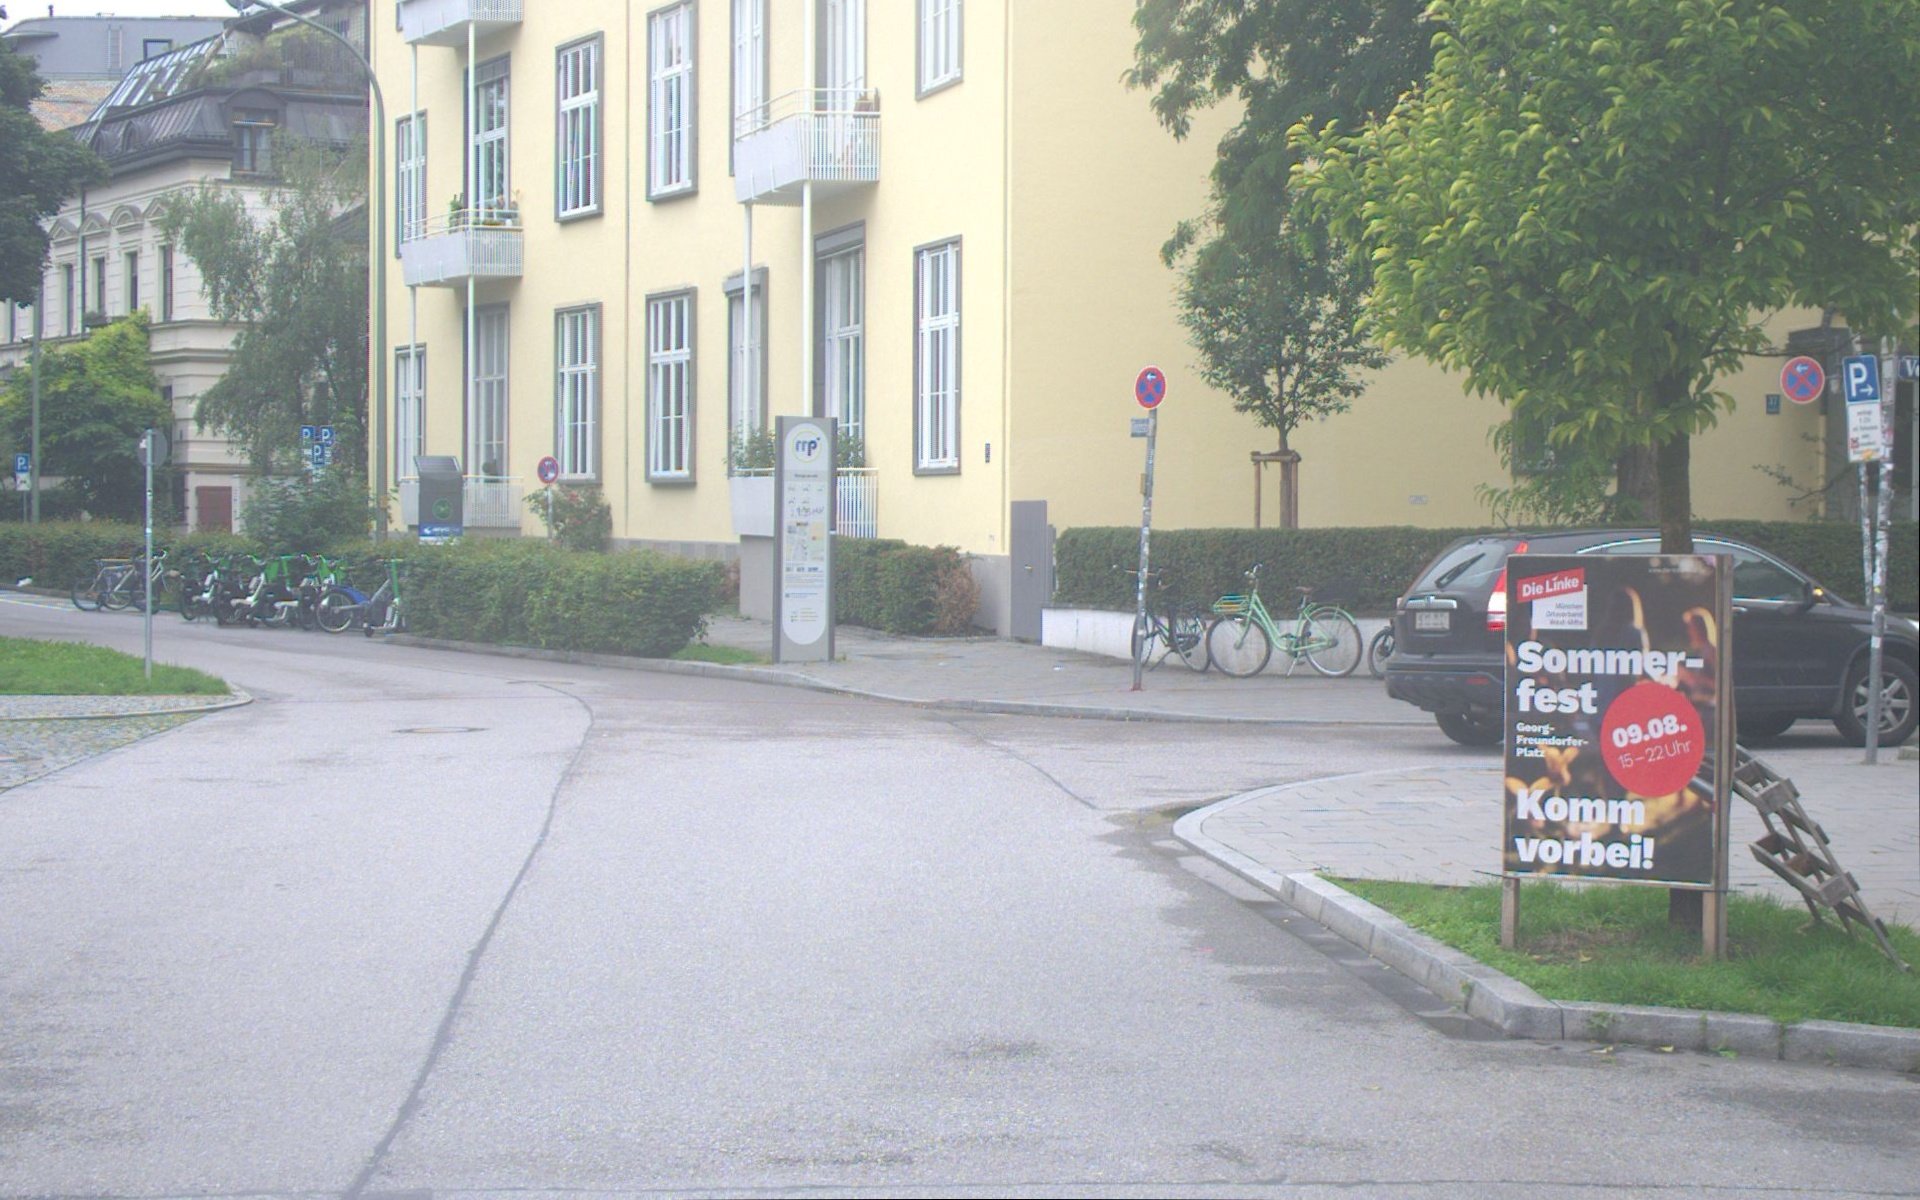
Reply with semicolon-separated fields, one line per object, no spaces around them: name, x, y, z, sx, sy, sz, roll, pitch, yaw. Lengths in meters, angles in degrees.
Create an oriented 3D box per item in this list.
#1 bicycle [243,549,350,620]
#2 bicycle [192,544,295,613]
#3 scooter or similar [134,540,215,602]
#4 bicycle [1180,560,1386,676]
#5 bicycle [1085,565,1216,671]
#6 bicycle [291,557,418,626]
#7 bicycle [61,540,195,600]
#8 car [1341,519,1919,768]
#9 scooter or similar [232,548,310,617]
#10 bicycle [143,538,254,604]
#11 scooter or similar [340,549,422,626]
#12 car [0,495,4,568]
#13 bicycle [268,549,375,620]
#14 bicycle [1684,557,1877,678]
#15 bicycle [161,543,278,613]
bicycle;-10.719;-0.261;55.591;0.576;1.082;1.930;0;2;29
bicycle;-11.717;-0.359;56.270;0.638;1.082;1.983;0;2;22
scooter or similar;-14.341;-0.533;62.774;1.404;1.084;0.597;-1;2;-10
bicycle;3.276;0.167;35.056;0.608;1.113;2.216;-1;2;-44
bicycle;2.049;0.175;37.270;0.608;1.069;2.218;-1;2;-19
bicycle;-9.306;-0.142;52.860;1.823;1.002;0.577;-2;2;-30
bicycle;-15.585;-0.571;64.427;2.331;1.082;0.693;-2;2;-33
car;5.344;0.270;26.416;4.365;1.688;2.002;-2;2;-23
scooter or similar;-11.200;-0.296;55.938;0.496;1.084;1.408;0;2;25
bicycle;-13.003;-0.502;58.742;0.763;1.082;2.139;0;2;22
scooter or similar;-8.682;-0.193;51.580;0.496;1.105;1.408;0;2;25
car;-22.998;-1.559;77.917;1.863;1.628;4.284;0;1;-25
bicycle;-10.206;-0.263;55.039;0.576;1.082;1.930;0;2;29
bicycle;7.998;0.164;33.550;1.735;1.146;0.610;0;1;2
bicycle;-12.254;-0.376;56.988;0.696;1.082;2.336;0;2;22
